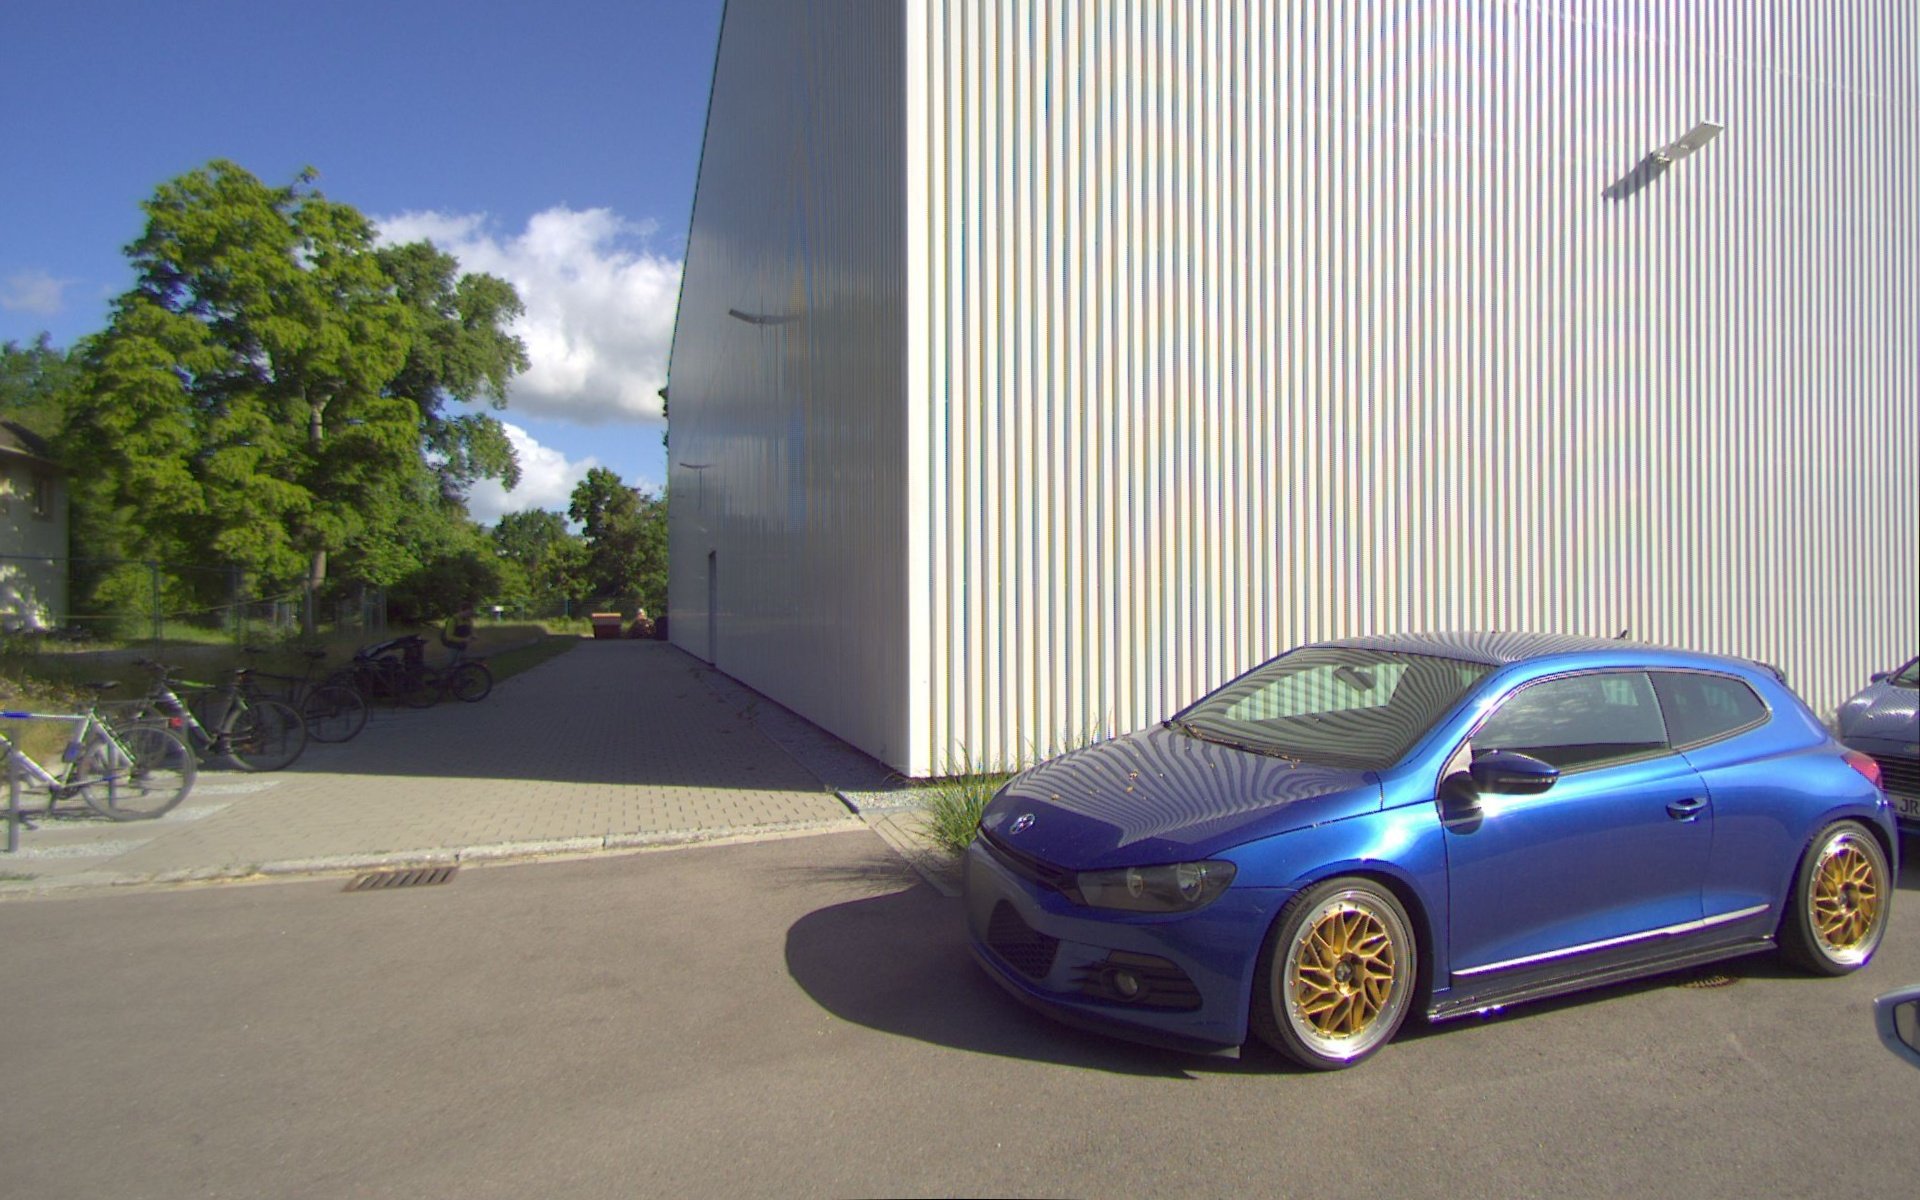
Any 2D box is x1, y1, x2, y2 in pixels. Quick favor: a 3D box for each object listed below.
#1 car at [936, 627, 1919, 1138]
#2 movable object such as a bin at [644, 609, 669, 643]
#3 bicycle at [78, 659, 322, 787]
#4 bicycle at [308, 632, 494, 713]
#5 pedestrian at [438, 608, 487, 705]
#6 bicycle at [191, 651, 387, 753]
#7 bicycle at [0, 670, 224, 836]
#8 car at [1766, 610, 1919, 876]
[{"bbox_3d":[1.995,0.845,4.313,3.893,1.368,1.666,0,0,-20],"label":"car"},{"bbox_3d":[-18.818,1.609,62.314,1.399,2.040,1.122,0,-1,-14],"label":"movable object such as a bin"},{"bbox_3d":[-7.170,1.141,9.556,1.769,1.097,0.523,0,-1,-17],"label":"bicycle"},{"bbox_3d":[-9.596,1.218,17.398,2.594,1.283,1.137,0,-1,-15],"label":"bicycle"},{"bbox_3d":[-9.122,1.025,18.431,0.502,1.751,0.636,-1,-1,15],"label":"pedestrian"},{"bbox_3d":[-7.946,1.184,11.978,1.865,1.109,0.523,0,-2,-20],"label":"bicycle"},{"bbox_3d":[-6.369,1.071,7.133,1.780,1.076,0.457,0,-1,-24],"label":"bicycle"},{"bbox_3d":[7.058,0.795,6.187,3.707,1.466,1.617,0,0,-21],"label":"car"}]
